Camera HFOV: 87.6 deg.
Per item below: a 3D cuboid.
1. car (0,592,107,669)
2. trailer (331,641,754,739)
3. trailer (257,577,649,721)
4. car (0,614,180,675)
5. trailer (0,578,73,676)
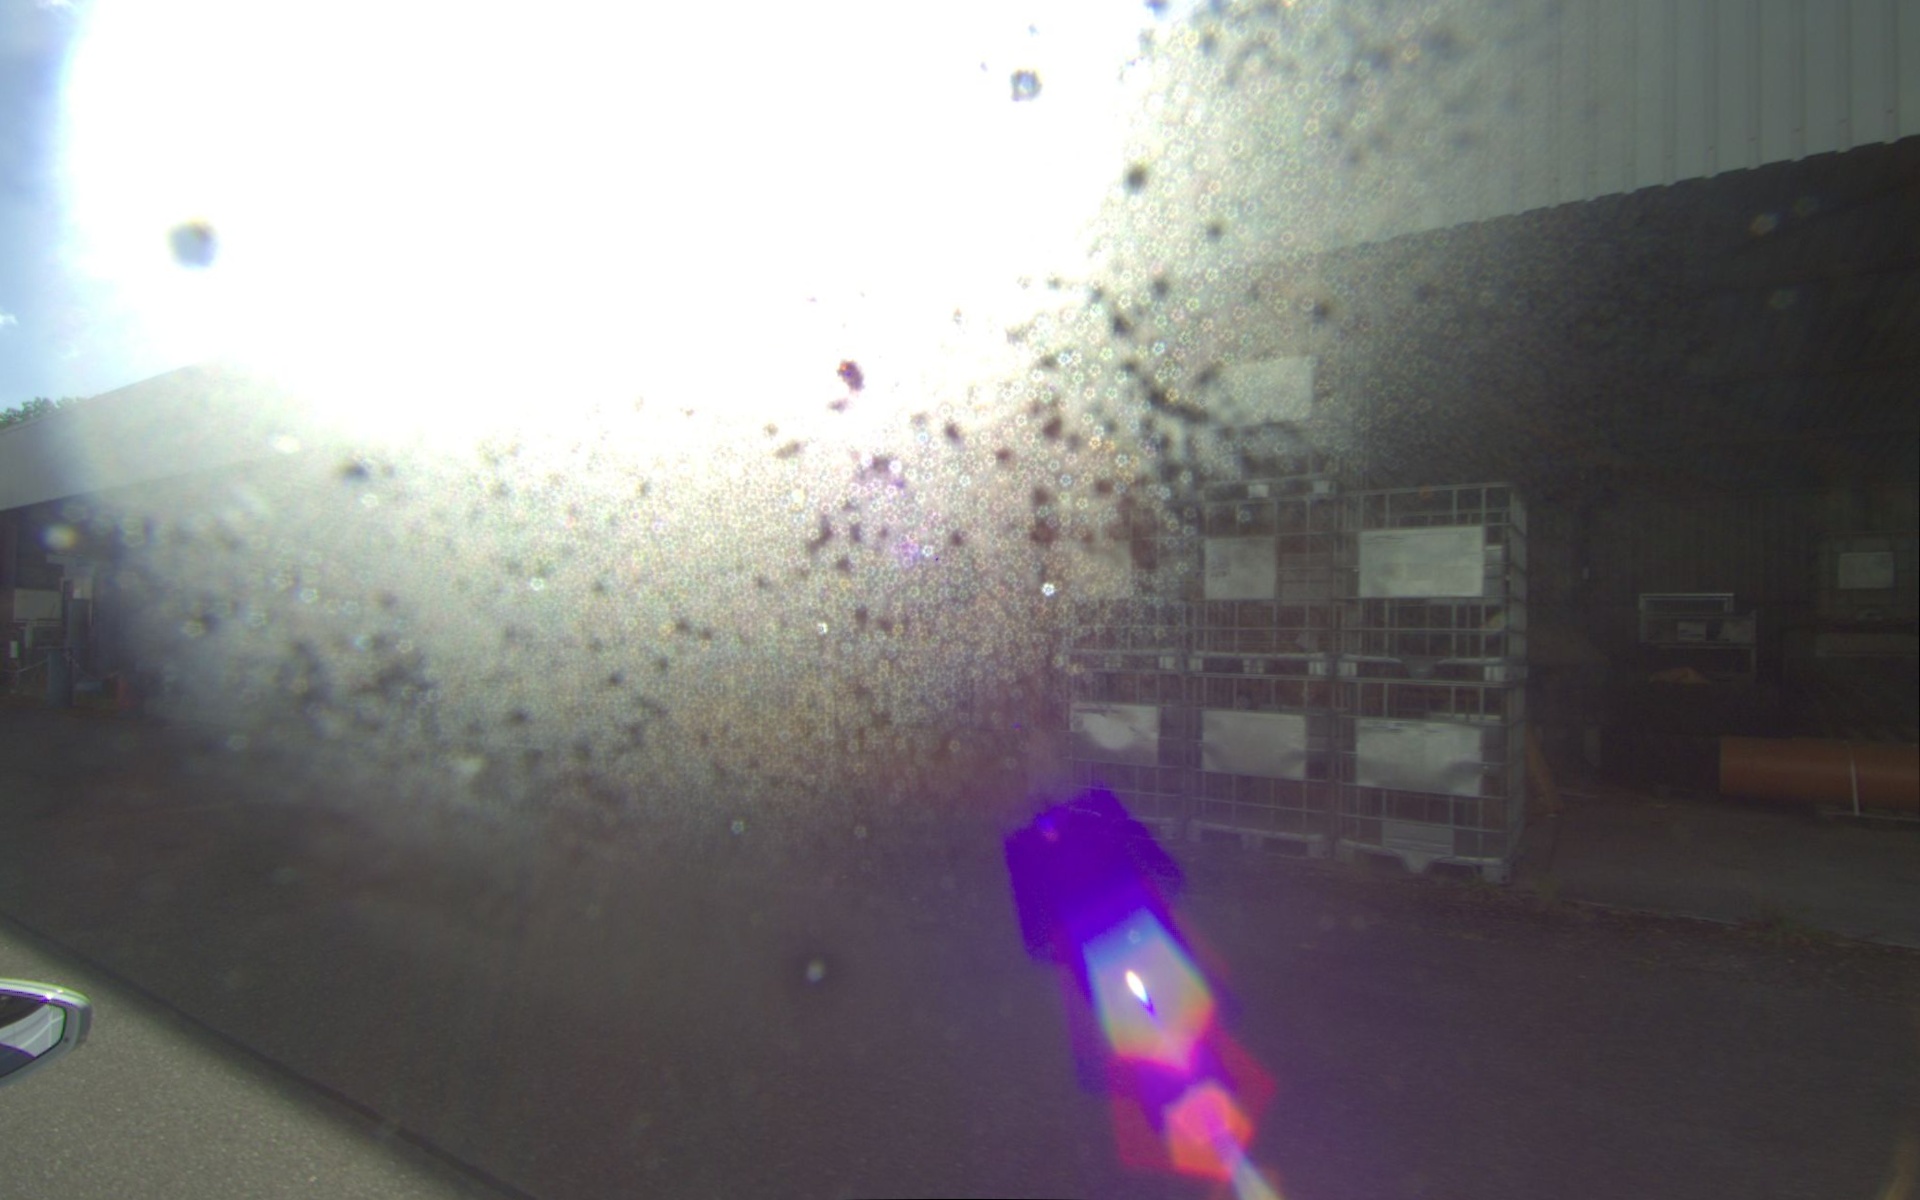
[{"bbox_3d":[-30.579,0.983,32.153,1.890,2.336,4.427,-2,-6,34],"label":"car"},{"bbox_3d":[-5.968,1.260,15.290,2.110,1.147,5.841,0,-3,31],"label":"trailer"},{"bbox_3d":[-8.418,0.844,17.319,2.049,2.058,5.754,0,-3,34],"label":"trailer"},{"bbox_3d":[-25.148,1.344,28.714,1.662,1.542,4.032,-3,-6,34],"label":"car"},{"bbox_3d":[-24.567,0.697,25.516,1.703,2.428,2.519,-1,-3,34],"label":"trailer"}]
